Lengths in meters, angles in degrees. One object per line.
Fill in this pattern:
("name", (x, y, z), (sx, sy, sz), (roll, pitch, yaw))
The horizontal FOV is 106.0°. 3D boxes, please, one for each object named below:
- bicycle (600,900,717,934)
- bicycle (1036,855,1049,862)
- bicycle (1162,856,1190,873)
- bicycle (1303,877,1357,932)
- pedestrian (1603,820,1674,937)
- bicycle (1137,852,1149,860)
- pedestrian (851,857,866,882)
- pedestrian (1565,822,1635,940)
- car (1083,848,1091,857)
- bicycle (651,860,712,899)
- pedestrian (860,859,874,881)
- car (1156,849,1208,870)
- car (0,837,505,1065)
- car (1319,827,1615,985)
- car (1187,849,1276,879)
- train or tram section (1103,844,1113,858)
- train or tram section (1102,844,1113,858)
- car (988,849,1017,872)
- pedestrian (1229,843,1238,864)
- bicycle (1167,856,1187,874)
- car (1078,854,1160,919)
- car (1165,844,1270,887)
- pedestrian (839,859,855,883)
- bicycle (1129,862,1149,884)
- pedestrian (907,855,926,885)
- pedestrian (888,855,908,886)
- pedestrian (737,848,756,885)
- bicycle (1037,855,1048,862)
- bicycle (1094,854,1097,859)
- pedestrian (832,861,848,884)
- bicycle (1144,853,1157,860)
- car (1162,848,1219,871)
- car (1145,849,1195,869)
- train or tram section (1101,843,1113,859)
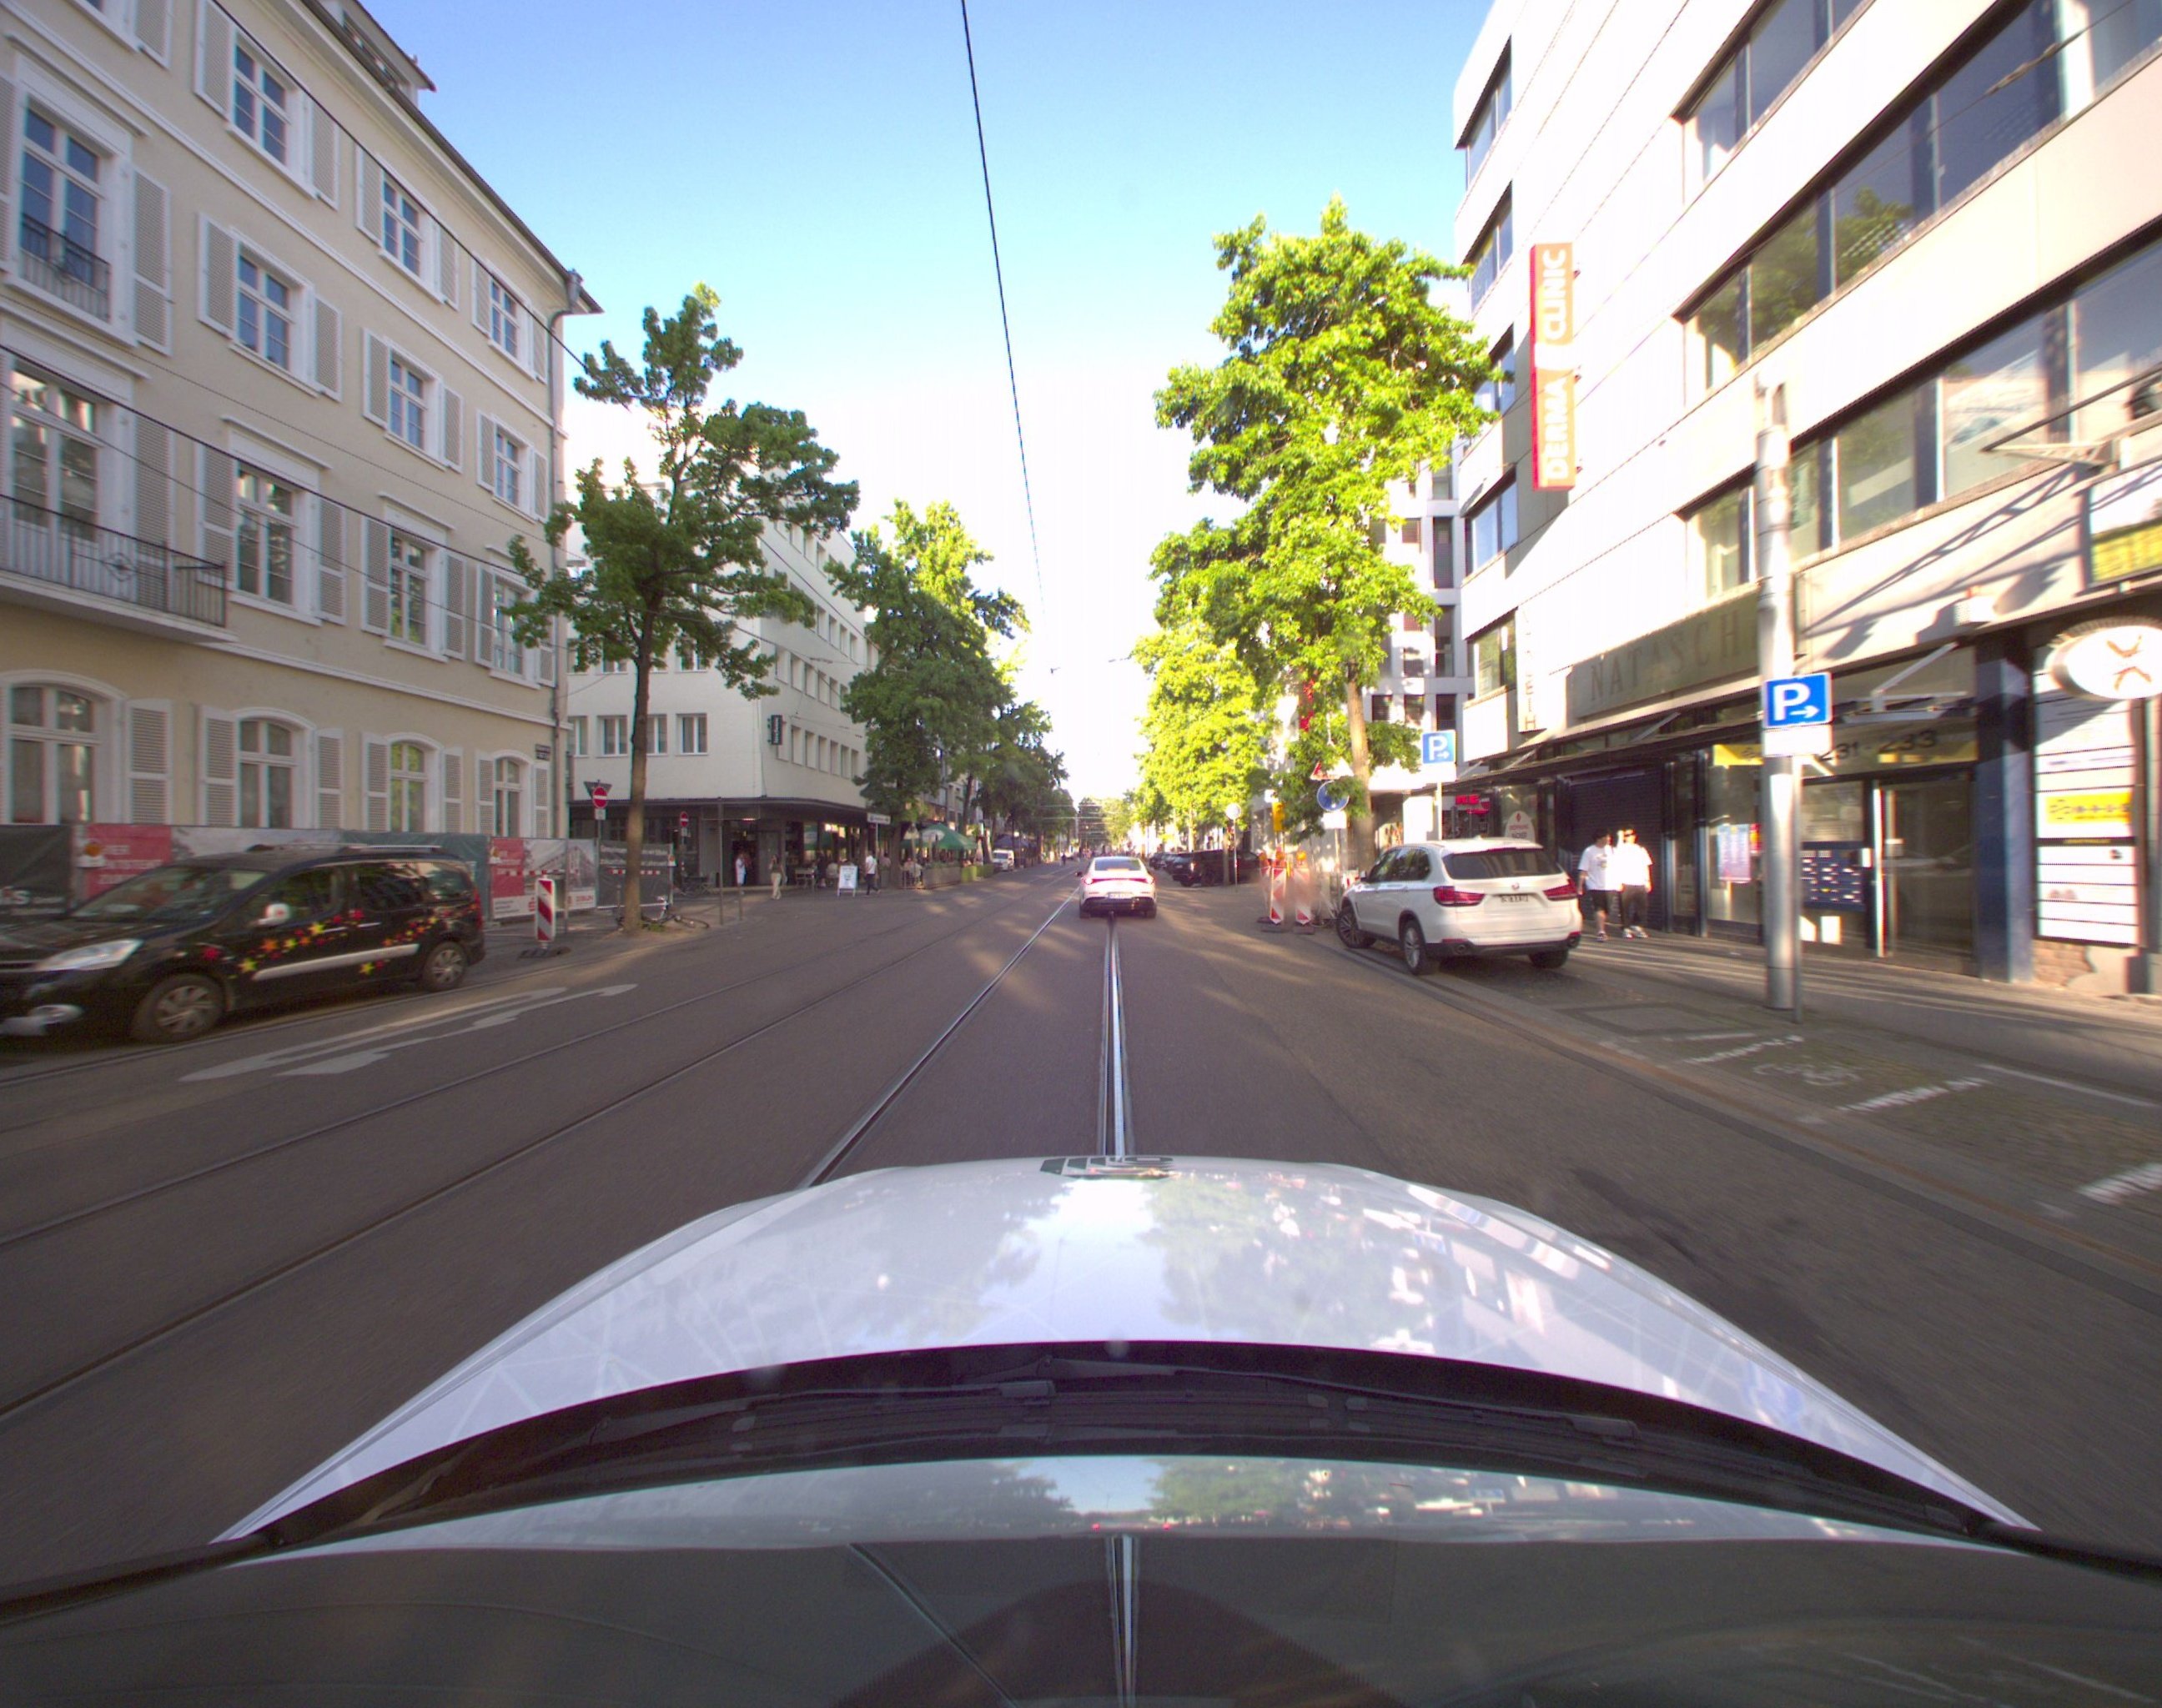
("bicycle", (-8.976, 1.333, 17.394), (1.787, 0.609, 1.284), (0, 0, 5))
("bicycle", (-5.554, 0.669, 117.571), (1.784, 1.077, 0.377), (0, 0, -3))
("bicycle", (6.959, 0.794, 59.700), (1.901, 1.119, 0.661), (-3, -1, -27))
("bicycle", (4.980, 0.978, 16.389), (0.491, 0.981, 1.930), (-1, 0, 0))
("pedestrian", (8.983, 0.386, 13.134), (0.685, 1.830, 0.635), (-1, 0, 1))
("bicycle", (10.296, 0.355, 134.806), (1.908, 1.281, 0.608), (-3, 0, -10))
("pedestrian", (-11.702, 0.823, 42.843), (0.600, 1.298, 0.687), (1, 0, 2))
("pedestrian", (8.288, 0.416, 13.031), (0.702, 1.830, 0.635), (-1, 0, 1))
("car", (1.841, -0.469, 246.127), (1.985, 2.897, 5.278), (-1, 0, 2))
("bicycle", (-14.839, 0.951, 30.300), (1.866, 1.380, 0.713), (-1, 3, 3))
("pedestrian", (-11.440, 0.841, 43.538), (0.550, 1.161, 0.687), (1, 0, 2))
("car", (8.922, 0.491, 71.824), (4.262, 1.587, 1.866), (-3, 0, -30))
("car", (-8.905, 0.771, 8.847), (1.849, 1.832, 4.563), (0, 0, 3))
("car", (5.272, 0.607, 12.069), (2.016, 1.737, 4.907), (-3, 0, 0))
("car", (8.677, 0.571, 47.071), (4.666, 1.426, 1.921), (-3, 0, -19))
("train or tram section", (7.252, -0.824, 219.901), (2.684, 3.516, 11.149), (-1, 0, 2))
("train or tram section", (6.801, -0.793, 208.062), (2.684, 3.516, 12.551), (-1, 0, 2))
("car", (-6.797, 0.517, 70.795), (1.788, 1.864, 4.557), (2, 0, 3))
("pedestrian", (12.512, -0.042, 66.967), (0.555, 1.750, 0.525), (-3, 0, 2))
("bicycle", (6.833, 0.767, 57.752), (0.475, 1.163, 1.705), (-4, 0, 41))
("car", (0.931, 0.746, 20.541), (1.850, 1.455, 4.177), (0, 0, 2))
("car", (6.618, 0.532, 39.280), (4.678, 1.763, 1.976), (-4, 0, -28))
("pedestrian", (-11.628, 0.840, 40.543), (0.550, 1.161, 0.687), (1, 0, 2))
("bicycle", (2.904, 0.936, 40.546), (0.714, 0.995, 2.065), (1, 0, 11))
("pedestrian", (-7.704, 0.759, 38.206), (0.686, 1.386, 0.807), (1, 0, 3))
("pedestrian", (-8.587, 0.767, 38.183), (0.686, 1.386, 0.807), (1, 0, 3))
("pedestrian", (-14.603, 0.537, 35.551), (0.399, 1.604, 0.625), (-1, 0, 35))
("bicycle", (-5.415, 0.634, 114.341), (1.586, 0.930, 0.378), (0, 0, 8))
("bicycle", (3.816, 0.647, 216.131), (0.797, 1.142, 2.257), (1, 0, 1))
("pedestrian", (-11.999, 0.916, 40.529), (0.550, 1.161, 0.687), (1, 0, 2))
("bicycle", (11.733, 0.412, 137.087), (2.114, 1.096, 0.607), (-1, 0, -11))
("car", (8.689, 0.461, 64.438), (4.174, 1.571, 1.836), (-3, 0, -31))
("car", (8.319, 0.482, 75.841), (4.369, 1.652, 1.678), (-3, 0, -30))
("train or tram section", (6.317, -0.755, 195.512), (2.684, 3.516, 12.551), (-1, 0, 2))
